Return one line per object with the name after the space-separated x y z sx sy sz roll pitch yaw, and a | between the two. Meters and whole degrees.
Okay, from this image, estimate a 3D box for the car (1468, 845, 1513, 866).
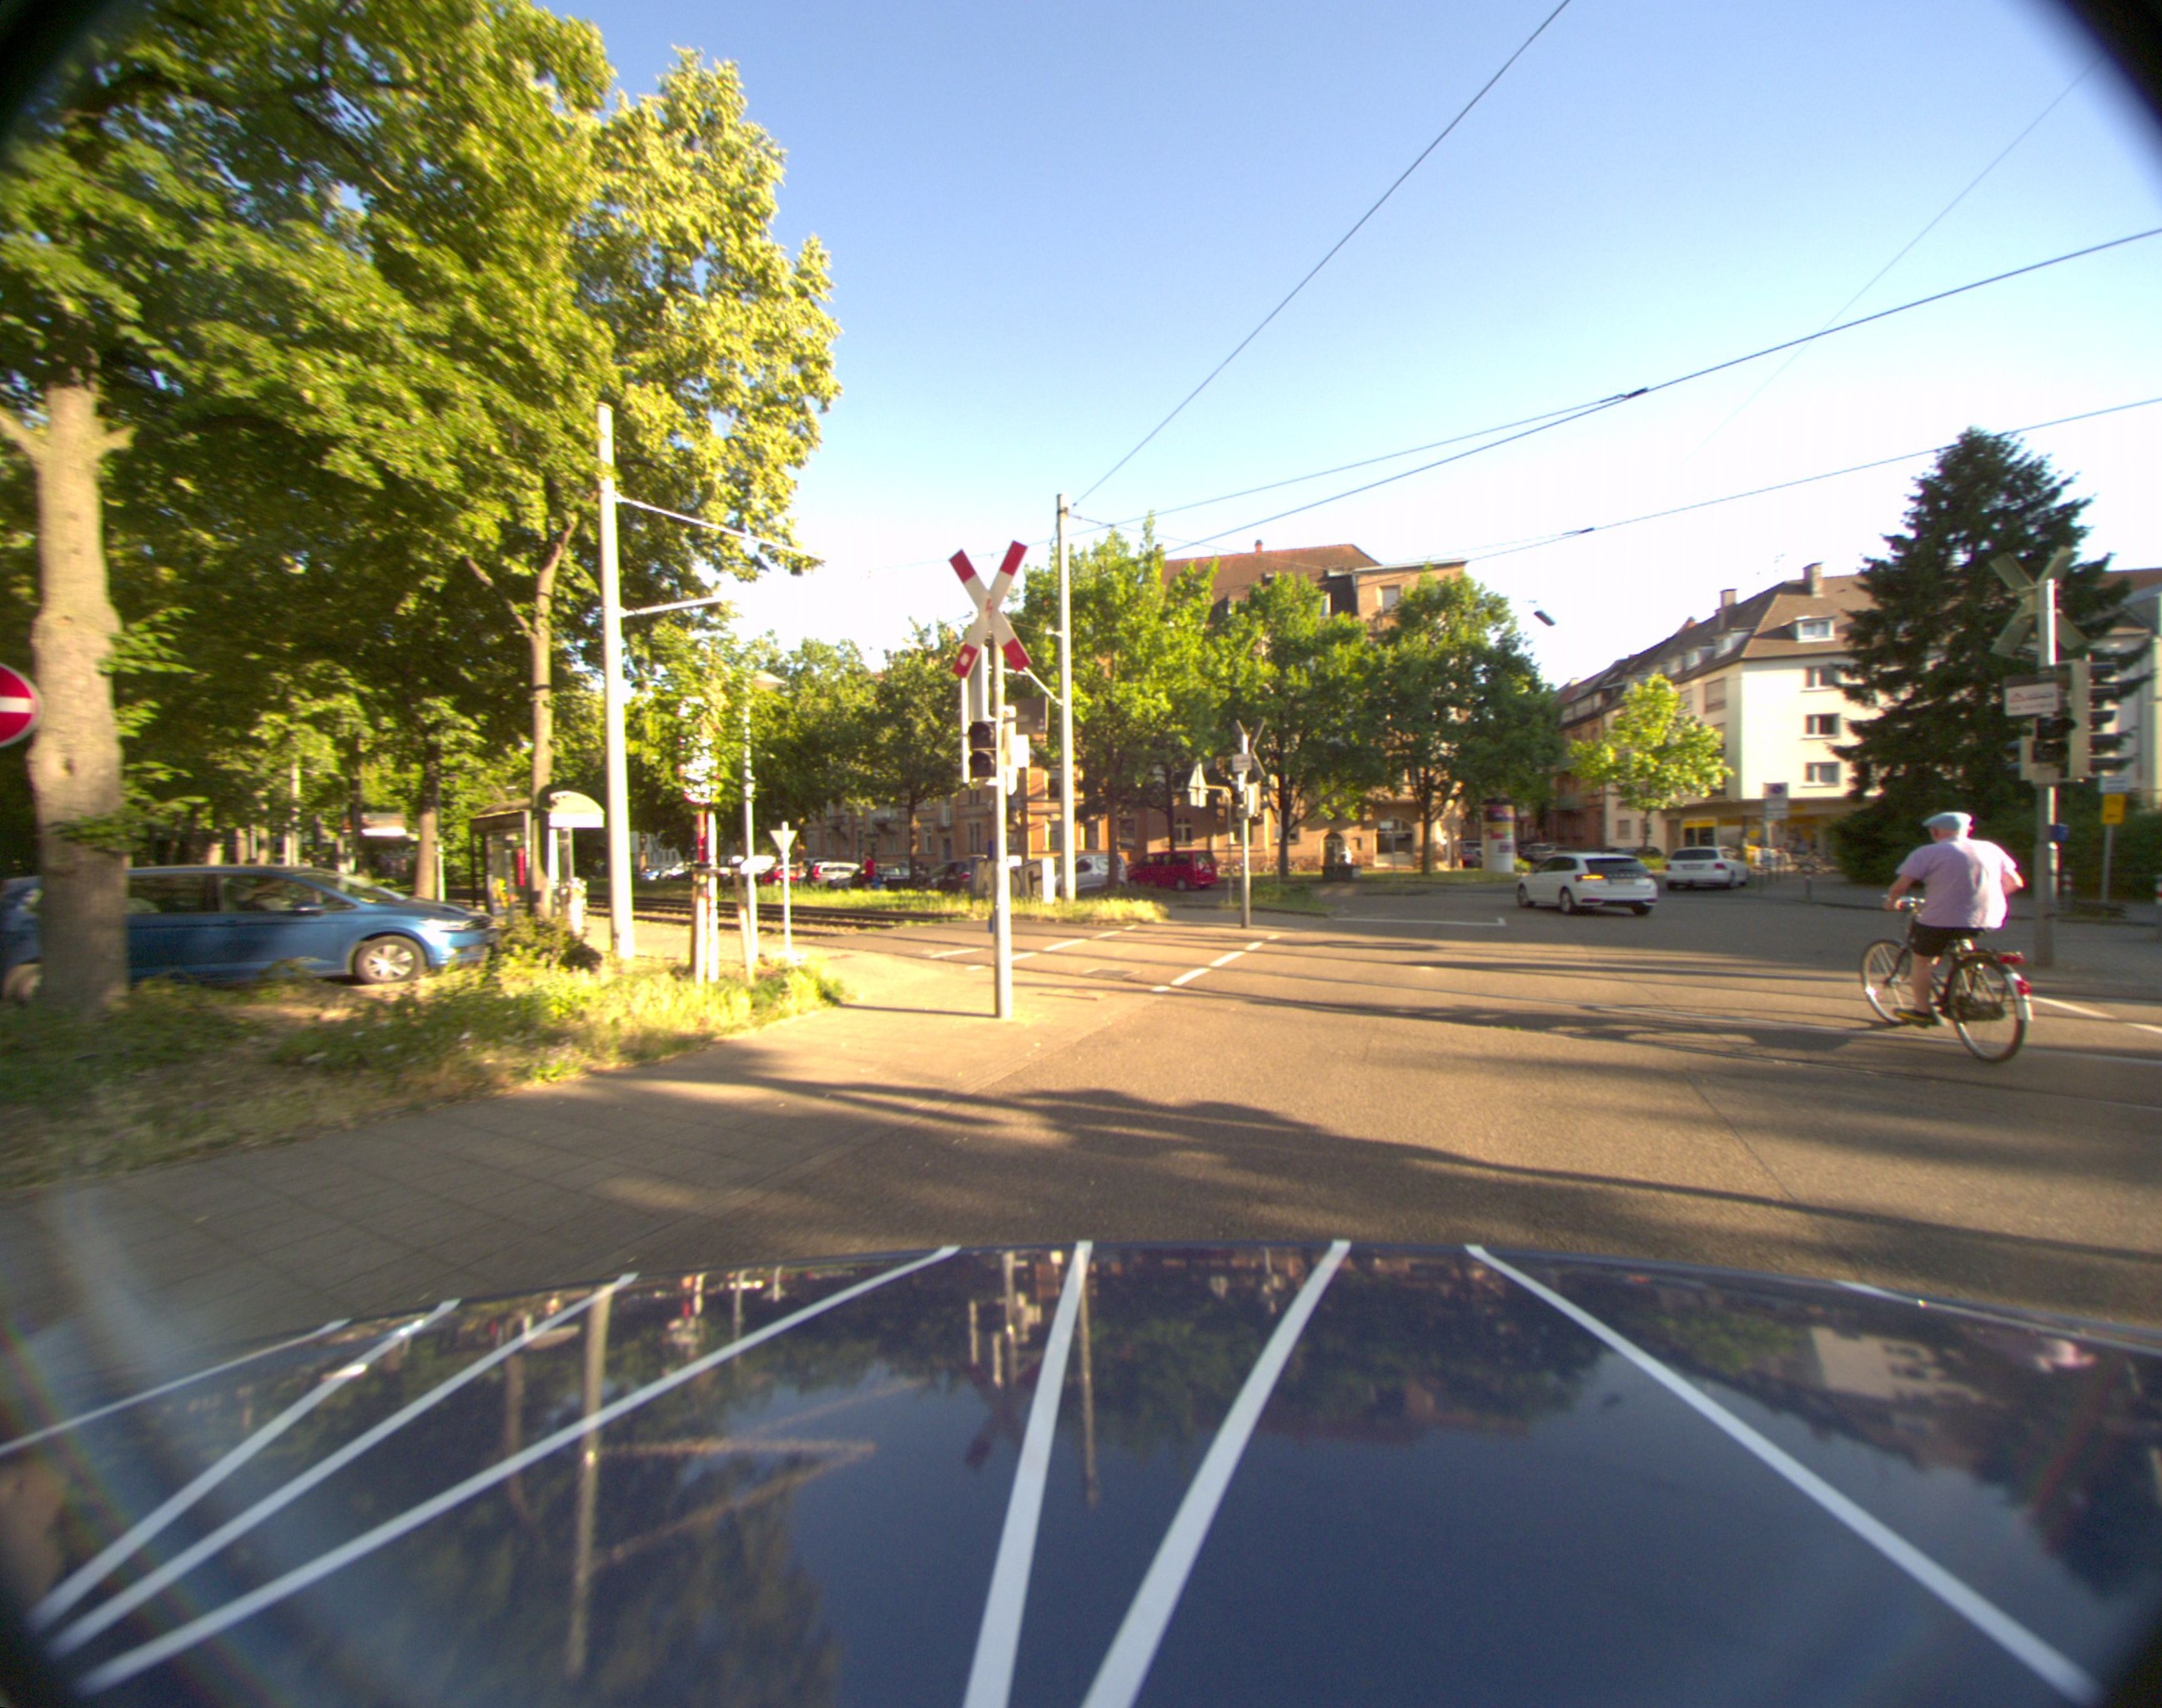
28.531 0.086 53.088 1.870 1.392 4.004 -1 0 14 | car

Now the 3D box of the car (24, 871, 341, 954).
-20.856 1.308 17.896 4.554 1.711 1.927 0 0 -12 | car

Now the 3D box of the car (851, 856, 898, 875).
-16.267 0.881 59.753 1.772 1.376 4.278 -4 2 -42 | car

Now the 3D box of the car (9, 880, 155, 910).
-48.859 1.993 37.281 4.004 1.271 1.745 0 0 -22 | car

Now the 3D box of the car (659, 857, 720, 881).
-31.210 1.190 60.619 4.008 1.821 1.679 0 0 -43 | car

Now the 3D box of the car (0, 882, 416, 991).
-14.595 1.290 12.902 4.557 1.478 1.926 0 0 -22 | car

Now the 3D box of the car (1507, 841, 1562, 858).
39.551 -0.424 66.267 4.002 1.392 1.871 -1 1 -16 | car

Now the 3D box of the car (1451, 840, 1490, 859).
29.815 -0.359 58.282 1.870 1.392 4.004 -1 0 14 | car

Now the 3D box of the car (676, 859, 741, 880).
-27.877 1.166 56.947 4.008 1.480 1.679 0 0 -43 | car

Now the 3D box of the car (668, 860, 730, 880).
-29.653 1.197 59.076 4.008 1.480 1.679 0 0 -43 | car

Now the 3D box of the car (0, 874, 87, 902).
-69.214 2.232 50.158 4.007 1.756 1.744 0 0 -36 | car

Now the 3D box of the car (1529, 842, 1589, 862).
38.101 -0.194 60.541 4.002 1.496 1.871 -1 1 -16 | car

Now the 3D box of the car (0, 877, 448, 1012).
-12.695 1.224 11.370 4.557 1.625 1.926 0 0 -22 | car

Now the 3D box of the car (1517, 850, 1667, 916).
12.429 0.633 18.795 1.705 1.448 4.066 -1 0 13 | car

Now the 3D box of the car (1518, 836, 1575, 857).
38.994 -0.628 63.611 4.002 1.626 1.871 -1 1 -16 | car

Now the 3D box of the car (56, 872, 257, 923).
-33.321 1.521 27.545 4.285 1.685 1.806 0 0 -19 | car

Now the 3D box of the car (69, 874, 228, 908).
-40.298 1.570 32.968 4.004 1.271 1.745 0 0 -22 | car

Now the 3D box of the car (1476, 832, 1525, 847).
41.178 -1.381 74.608 4.002 1.392 1.871 -1 1 -16 | car

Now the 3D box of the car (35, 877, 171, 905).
-50.850 1.894 39.625 4.004 1.271 1.745 0 0 -22 | car

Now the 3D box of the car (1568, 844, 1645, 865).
35.643 0.019 51.600 3.998 1.392 1.873 -1 1 -4 | car

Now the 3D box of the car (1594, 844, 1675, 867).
35.737 0.067 49.125 3.998 1.392 1.873 -1 1 -4 | car

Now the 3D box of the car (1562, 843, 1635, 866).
37.121 0.047 54.583 3.997 1.559 1.873 -1 1 -2 | car

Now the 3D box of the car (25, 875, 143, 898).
-60.775 1.981 46.419 4.004 1.271 1.745 0 0 -22 | car

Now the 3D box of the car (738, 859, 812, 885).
-19.409 1.122 48.276 4.008 1.571 1.761 0 0 -45 | car

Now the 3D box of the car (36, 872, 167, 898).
-52.826 1.649 41.091 4.004 1.271 1.745 0 0 -22 | car

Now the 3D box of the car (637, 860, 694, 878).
-36.154 1.251 66.138 4.008 1.480 1.679 0 0 -43 | car

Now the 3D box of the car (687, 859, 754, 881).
-26.086 1.136 55.042 4.008 1.480 1.679 0 0 -43 | car

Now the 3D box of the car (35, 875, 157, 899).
-57.662 1.910 44.577 4.004 1.271 1.745 0 0 -22 | car

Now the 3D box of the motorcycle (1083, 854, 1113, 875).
1.191 0.719 52.287 1.896 1.345 0.811 -2 0 12 | motorcycle

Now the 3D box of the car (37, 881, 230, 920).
-36.096 1.745 29.104 4.286 1.271 1.806 0 0 -21 | car

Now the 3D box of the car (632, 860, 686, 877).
-38.143 1.270 68.694 4.008 1.480 1.679 0 0 -43 | car

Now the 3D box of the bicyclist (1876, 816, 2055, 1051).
6.514 0.529 5.655 0.699 1.579 0.876 0 1 37 | bicyclist

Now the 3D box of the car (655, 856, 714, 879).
-32.655 1.061 62.577 4.008 1.821 1.679 0 0 -43 | car
